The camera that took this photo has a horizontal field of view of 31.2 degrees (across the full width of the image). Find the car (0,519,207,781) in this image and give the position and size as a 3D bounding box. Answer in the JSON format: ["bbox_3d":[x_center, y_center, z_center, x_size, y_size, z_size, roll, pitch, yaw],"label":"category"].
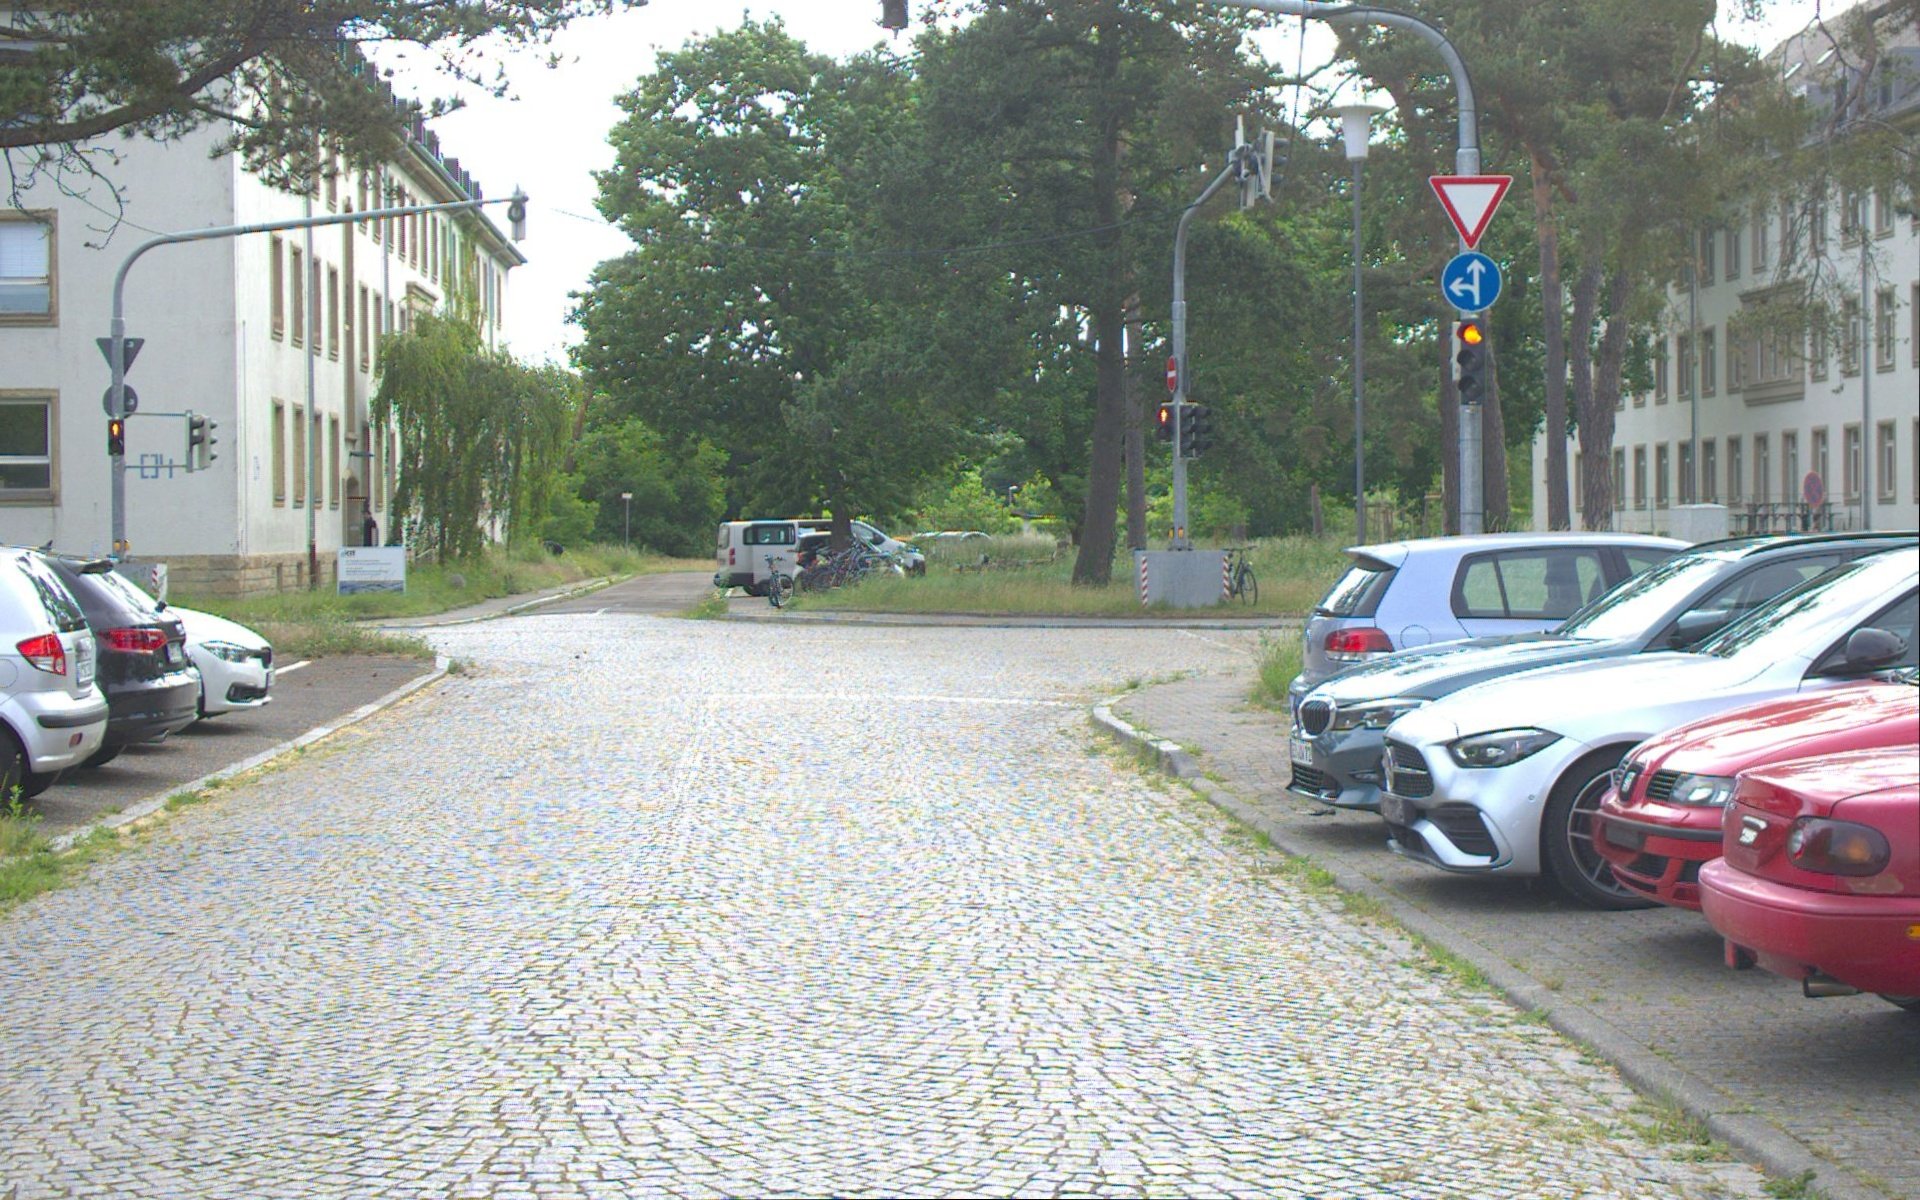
[{"bbox_3d":[-6.915,0.307,21.204,4.297,1.548,1.812,-1,1,-8],"label":"car"}]

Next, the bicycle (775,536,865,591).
[{"bbox_3d":[-3.067,-0.808,75.380,1.881,1.167,0.665,1,1,-8],"label":"bicycle"}]

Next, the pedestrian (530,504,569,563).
[{"bbox_3d":[-13.822,-2.230,115.808,1.239,1.952,1.121,1,1,-8],"label":"pedestrian"}]

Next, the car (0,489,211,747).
[{"bbox_3d":[-7.496,0.131,23.983,4.297,1.726,1.653,-1,1,-8],"label":"car"}]

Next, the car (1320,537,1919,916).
[{"bbox_3d":[3.811,0.461,14.698,4.184,1.432,1.756,-1,1,-10],"label":"car"}]

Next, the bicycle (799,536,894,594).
[{"bbox_3d":[-2.378,-0.735,71.910,1.881,1.167,0.665,1,1,-8],"label":"bicycle"}]

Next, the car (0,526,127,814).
[{"bbox_3d":[-6.548,0.297,18.621,3.720,1.475,1.673,2,1,-5],"label":"car"}]

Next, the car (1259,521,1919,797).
[{"bbox_3d":[3.955,0.300,20.029,4.134,1.458,1.634,-1,1,-8],"label":"car"}]

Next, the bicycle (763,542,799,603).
[{"bbox_3d":[-3.495,-0.540,67.223,0.663,1.167,1.888,1,1,-3],"label":"bicycle"}]

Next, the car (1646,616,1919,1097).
[{"bbox_3d":[3.969,0.665,9.998,3.586,1.218,1.629,-1,1,-1],"label":"car"}]

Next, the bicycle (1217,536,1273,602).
[{"bbox_3d":[4.714,-0.520,56.947,0.663,1.047,1.888,1,2,-3],"label":"bicycle"}]

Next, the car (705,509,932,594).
[{"bbox_3d":[-3.588,-1.234,86.671,5.374,2.094,2.179,0,1,-15],"label":"car"}]

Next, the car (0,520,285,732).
[{"bbox_3d":[-7.436,0.193,26.445,4.297,1.548,1.812,-1,1,-8],"label":"car"}]

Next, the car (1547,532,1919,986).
[{"bbox_3d":[4.346,0.484,12.357,4.104,1.471,1.685,-1,1,-4],"label":"car"}]

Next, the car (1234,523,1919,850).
[{"bbox_3d":[3.685,0.376,17.462,4.227,1.474,1.710,-1,1,-13],"label":"car"}]

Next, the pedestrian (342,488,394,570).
[{"bbox_3d":[-14.442,-1.730,83.869,1.074,1.952,1.121,1,1,-3],"label":"pedestrian"}]
